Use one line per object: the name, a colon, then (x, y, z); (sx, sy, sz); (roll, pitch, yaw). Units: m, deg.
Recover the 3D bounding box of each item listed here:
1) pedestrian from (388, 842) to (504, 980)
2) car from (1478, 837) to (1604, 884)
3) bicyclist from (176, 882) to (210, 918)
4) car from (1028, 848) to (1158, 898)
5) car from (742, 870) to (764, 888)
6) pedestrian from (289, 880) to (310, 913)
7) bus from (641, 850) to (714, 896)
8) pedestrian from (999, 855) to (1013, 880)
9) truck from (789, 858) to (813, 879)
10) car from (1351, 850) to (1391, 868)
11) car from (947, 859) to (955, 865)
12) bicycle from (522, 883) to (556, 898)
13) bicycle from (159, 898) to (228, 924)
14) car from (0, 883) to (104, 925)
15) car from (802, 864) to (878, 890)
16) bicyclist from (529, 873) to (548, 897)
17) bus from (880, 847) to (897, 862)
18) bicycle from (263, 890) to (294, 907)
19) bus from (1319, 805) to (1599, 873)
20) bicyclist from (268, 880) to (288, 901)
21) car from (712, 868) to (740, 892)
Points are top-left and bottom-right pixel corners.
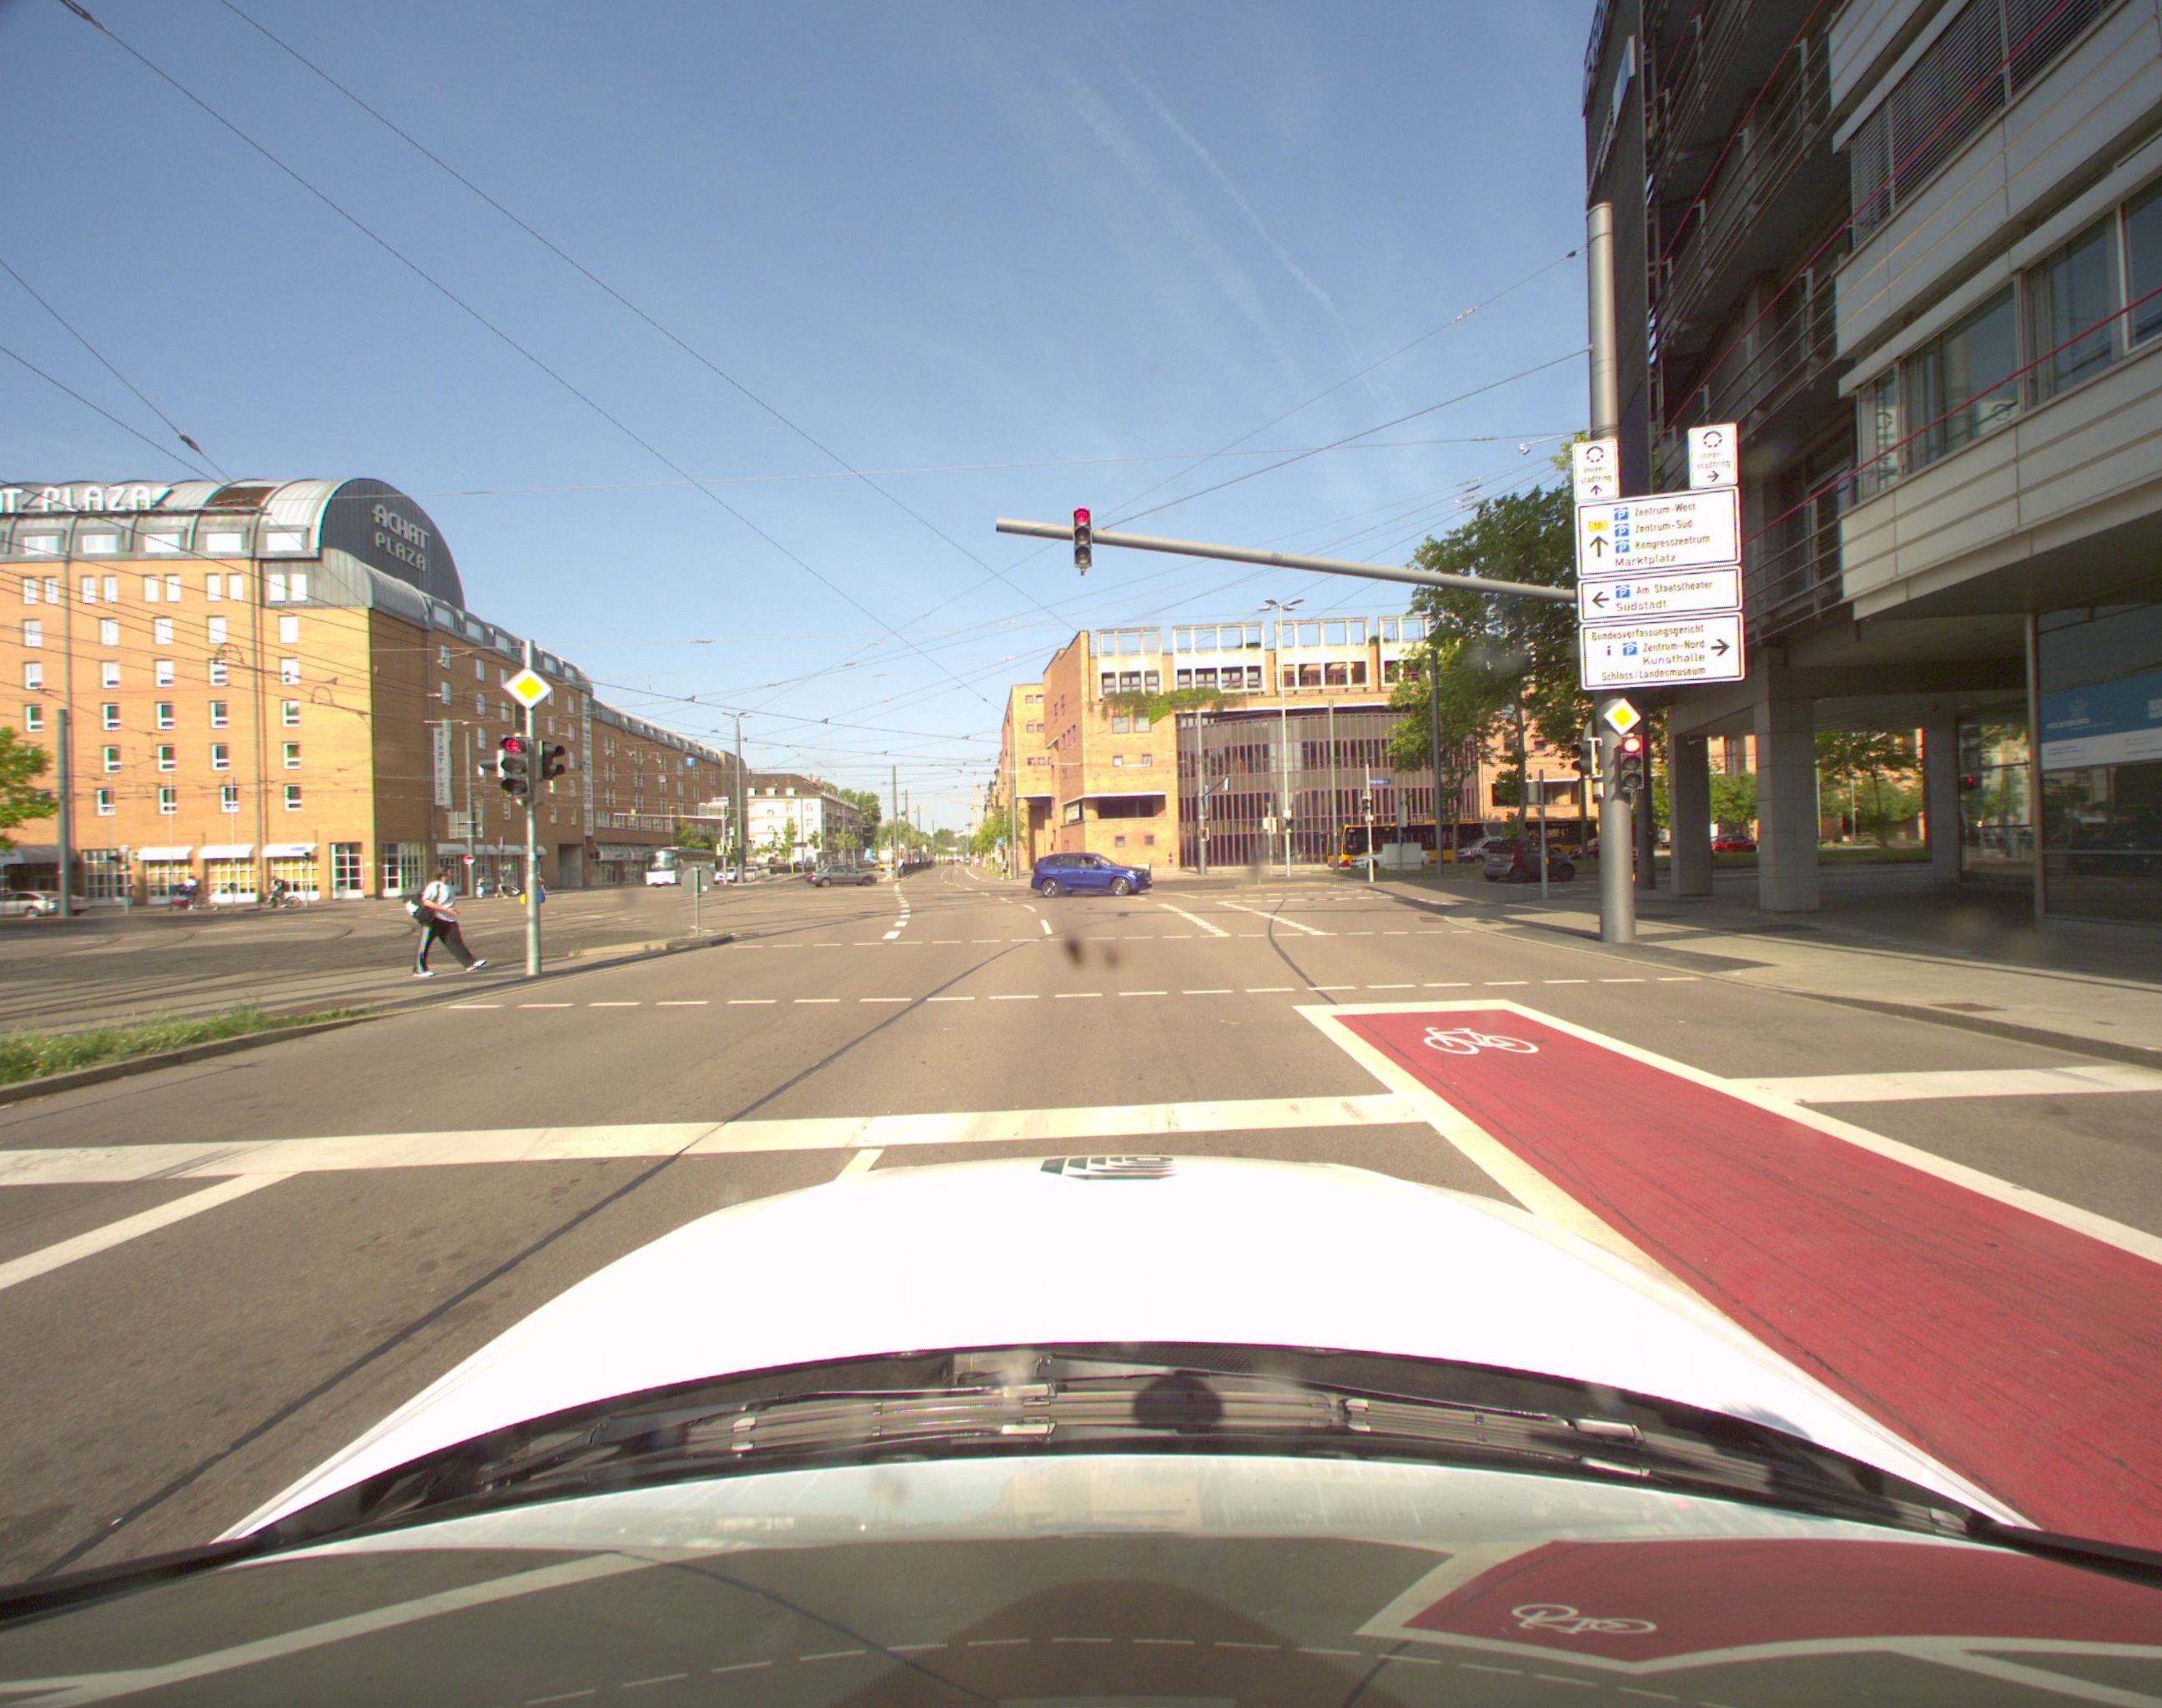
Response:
pedestrian: (-9.697, 0.857, 12.461); (1.151, 2.014, 0.776); (-2, -2, 1)
car: (16.489, 0.191, 29.291); (3.583, 1.492, 1.701); (-2, 2, -3)
bicyclist: (-44.916, 2.328, 41.193); (0.658, 1.747, 0.973); (-3, -2, 24)
car: (0.469, 0.716, 30.229); (4.363, 1.636, 2.002); (-2, -2, 19)
car: (-32.097, 2.450, 79.767); (1.207, 1.760, 2.604); (-2, -2, -5)
pedestrian: (-46.984, 2.554, 48.940); (0.753, 1.953, 0.874); (-2, 0, -35)
bus: (-38.346, 1.873, 77.930); (2.746, 3.921, 12.176); (-1, -2, -9)
pedestrian: (-6.241, 1.124, 67.814); (0.834, 2.013, 0.814); (-2, 0, 17)
truck: (-36.227, 1.885, 105.518); (1.993, 2.599, 4.725); (-1, -2, -9)
car: (17.049, 0.295, 47.936); (1.944, 0.958, 1.094); (-2, 0, 1)
car: (-37.772, 2.309, 236.849); (2.073, 1.542, 4.400); (-2, -2, -9)
bicycle: (-39.257, 2.631, 58.992); (1.962, 0.970, 0.418); (-1, -2, -13)
bicycle: (-44.895, 2.877, 41.223); (0.543, 1.206, 2.300); (-3, -2, 23)
car: (-55.648, 2.673, 43.301); (4.594, 2.013, 1.996); (-2, 0, -6)
car: (-15.170, 1.433, 51.275); (4.234, 1.487, 1.980); (-1, -2, -30)
bicyclist: (-39.299, 2.270, 58.993); (0.987, 1.696, 0.668); (-1, -2, -12)
bus: (-26.770, 0.114, 113.517); (1.994, 2.013, 3.986); (-1, 0, -10)
bicycle: (-45.675, 2.528, 46.355); (0.345, 0.872, 1.398); (-2, -2, 2)
bus: (24.573, -0.980, 53.049); (17.592, 3.811, 2.858); (-2, -2, -7)
bicyclist: (-45.690, 2.074, 46.363); (0.520, 1.129, 0.610); (-2, -2, 1)
car: (-31.612, 2.323, 72.545); (1.600, 2.014, 2.722); (-2, -2, -8)
